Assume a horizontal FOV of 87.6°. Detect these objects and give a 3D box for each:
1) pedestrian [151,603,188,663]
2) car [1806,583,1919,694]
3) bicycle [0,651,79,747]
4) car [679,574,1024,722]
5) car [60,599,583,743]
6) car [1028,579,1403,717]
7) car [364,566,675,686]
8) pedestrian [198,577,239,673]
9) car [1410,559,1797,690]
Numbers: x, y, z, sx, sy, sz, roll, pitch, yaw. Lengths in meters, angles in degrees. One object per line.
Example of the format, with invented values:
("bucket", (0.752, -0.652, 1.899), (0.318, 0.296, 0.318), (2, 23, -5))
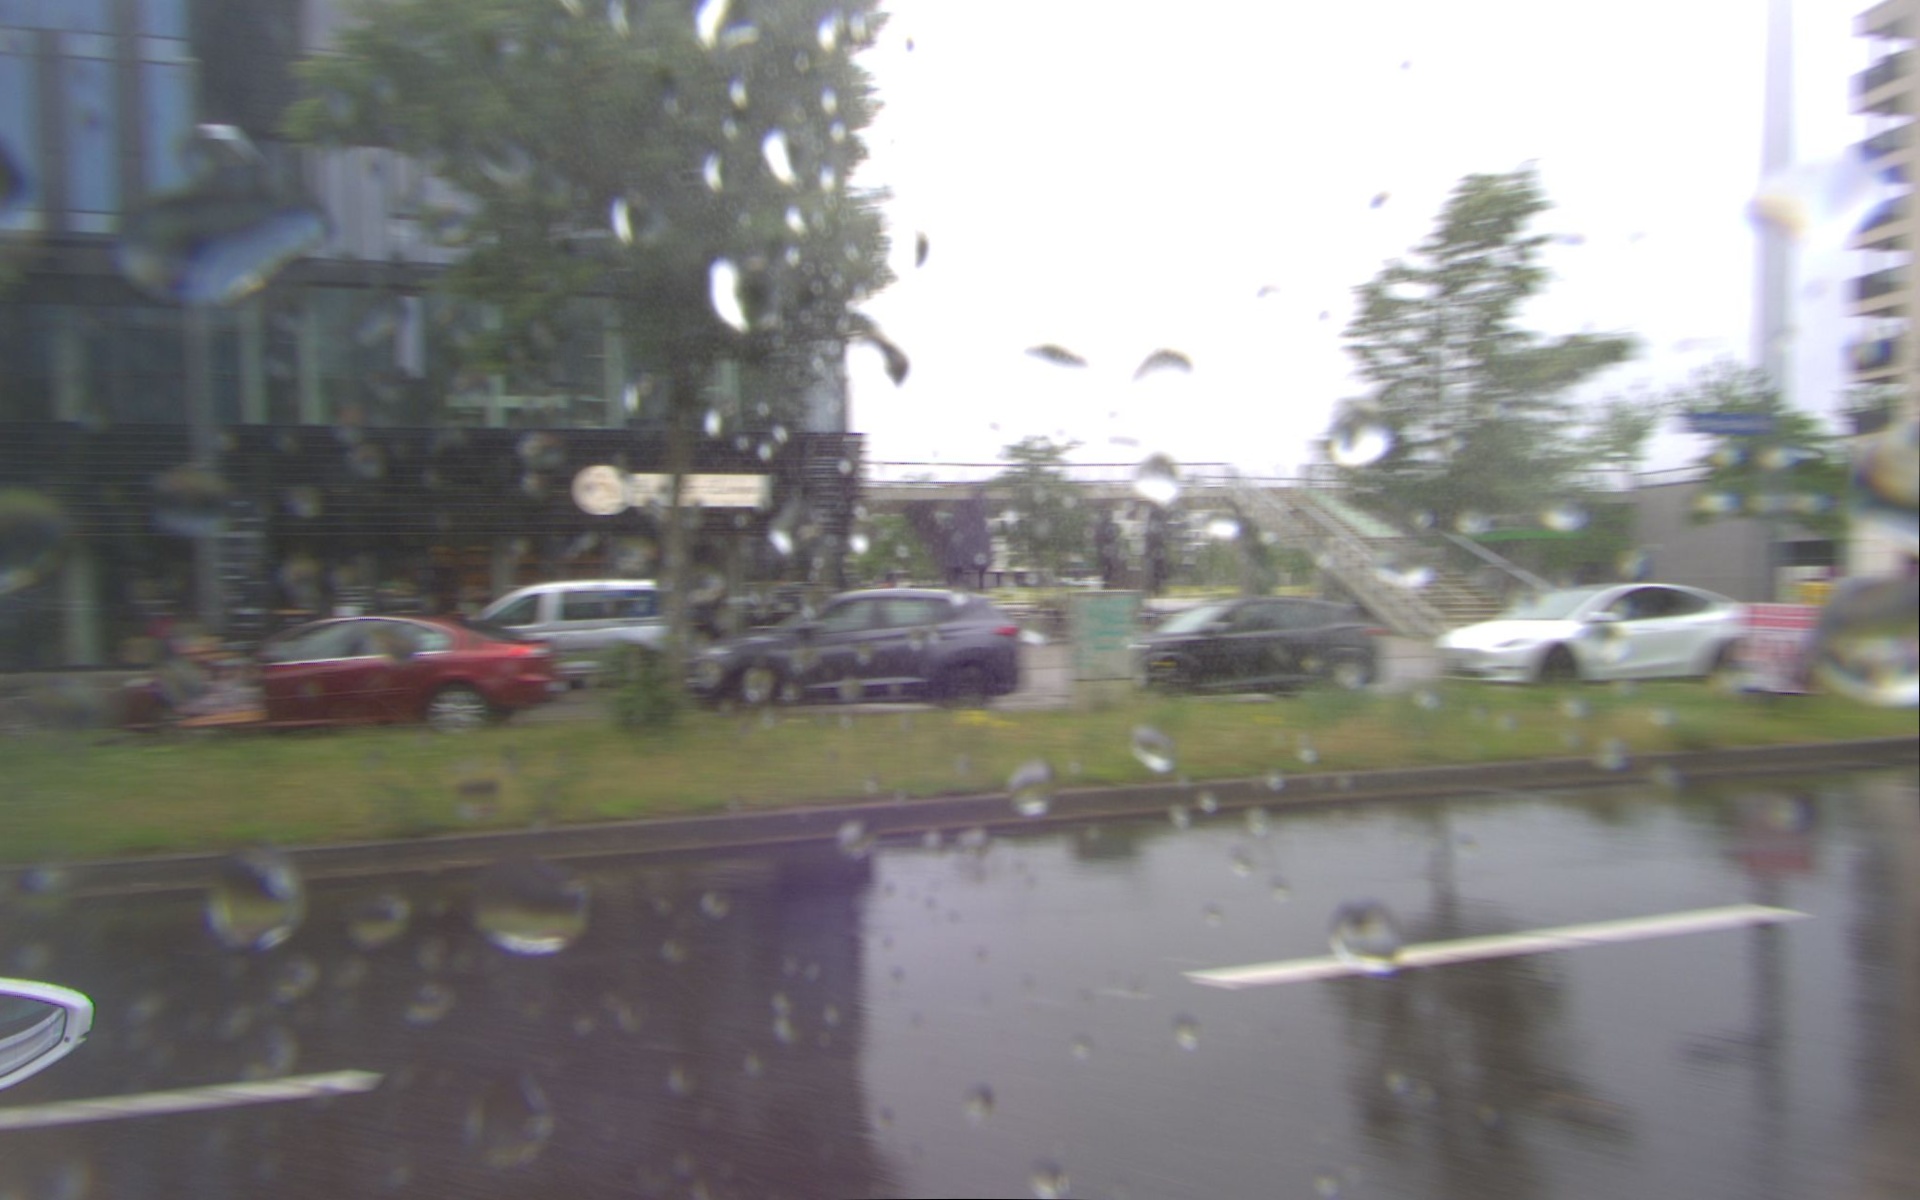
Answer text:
("pedestrian", (-17.038, 0.706, 21.580), (0.573, 1.254, 0.447), (2, 2, 32))
("car", (17.123, 0.648, 16.704), (4.749, 1.730, 1.998), (1, 1, -11))
("bicycle", (-9.743, 0.948, 9.575), (1.885, 0.873, 0.572), (1, 1, -26))
("car", (-1.434, 0.598, 13.141), (4.139, 1.730, 1.998), (1, 1, -11))
("car", (-7.316, 0.758, 12.050), (4.865, 1.474, 1.998), (0, 1, -10))
("car", (3.465, 0.642, 14.000), (4.636, 1.730, 1.998), (1, 1, -11))
("car", (-7.434, 0.452, 17.395), (4.637, 1.891, 1.897), (1, 1, -13))
("pedestrian", (-14.732, 0.491, 19.893), (0.502, 1.857, 0.572), (3, 2, 44))
("car", (9.500, 0.362, 14.945), (4.749, 1.730, 1.998), (1, 1, -11))
